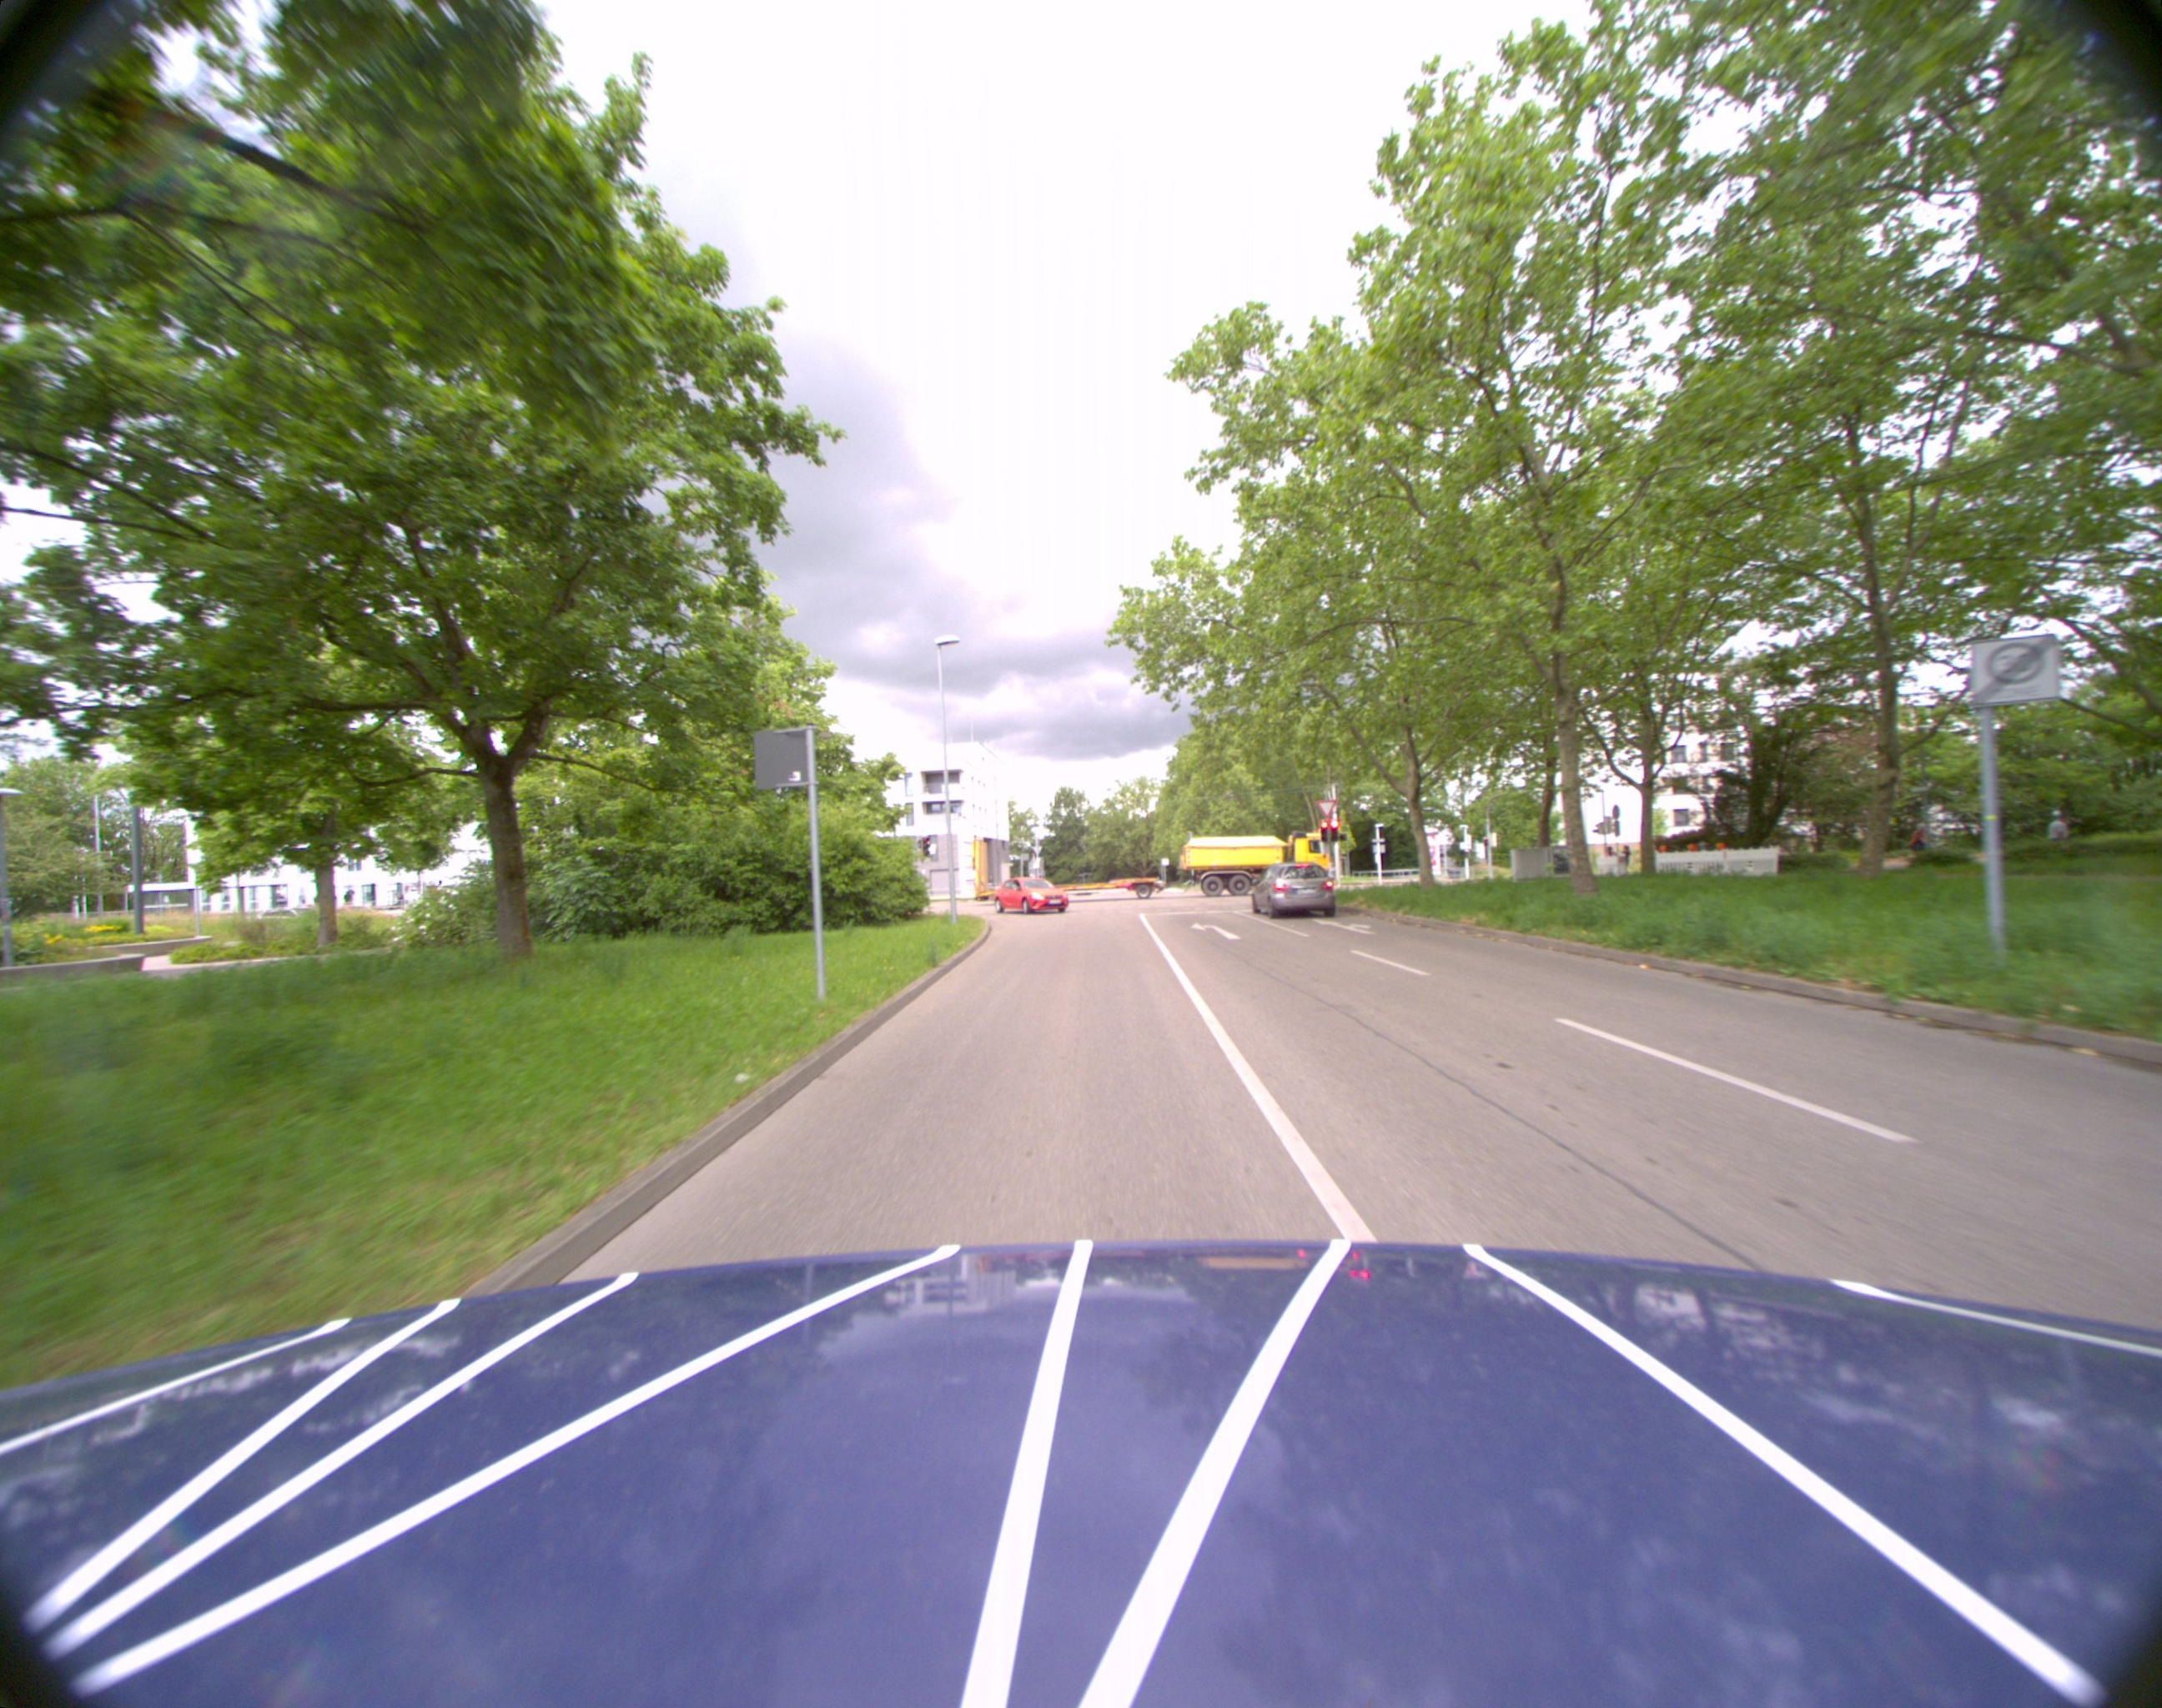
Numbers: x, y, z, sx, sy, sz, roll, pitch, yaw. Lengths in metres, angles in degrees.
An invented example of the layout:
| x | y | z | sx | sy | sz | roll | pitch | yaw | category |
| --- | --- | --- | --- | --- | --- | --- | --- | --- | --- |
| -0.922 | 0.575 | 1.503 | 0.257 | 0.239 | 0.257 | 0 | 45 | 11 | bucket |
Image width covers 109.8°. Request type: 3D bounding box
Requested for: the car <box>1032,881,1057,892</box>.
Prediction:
| x | y | z | sx | sy | sz | roll | pitch | yaw | category |
| --- | --- | --- | --- | --- | --- | --- | --- | --- | --- |
| -5.578 | 4.988 | 116.132 | 3.539 | 1.490 | 1.648 | -3 | -2 | 4 | car |

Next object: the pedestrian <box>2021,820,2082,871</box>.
| x | y | z | sx | sy | sz | roll | pitch | yaw | category |
| --- | --- | --- | --- | --- | --- | --- | --- | --- | --- |
| 30.578 | -0.260 | 23.949 | 0.850 | 1.576 | 0.796 | -2 | -1 | 4 | pedestrian |

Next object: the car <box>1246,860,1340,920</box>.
| x | y | z | sx | sy | sz | roll | pitch | yaw | category |
| --- | --- | --- | --- | --- | --- | --- | --- | --- | --- |
| 6.245 | 1.020 | 22.840 | 1.771 | 1.576 | 4.413 | -2 | -1 | 3 | car |

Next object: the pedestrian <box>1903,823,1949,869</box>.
| x | y | z | sx | sy | sz | roll | pitch | yaw | category |
| --- | --- | --- | --- | --- | --- | --- | --- | --- | --- |
| 28.903 | -0.258 | 26.002 | 0.655 | 1.529 | 0.772 | -2 | -1 | -4 | pedestrian |

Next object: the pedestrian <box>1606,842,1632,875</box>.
| x | y | z | sx | sy | sz | roll | pitch | yaw | category |
| --- | --- | --- | --- | --- | --- | --- | --- | --- | --- |
| 24.716 | 0.202 | 34.929 | 0.698 | 1.480 | 0.688 | -2 | -1 | 7 | pedestrian |

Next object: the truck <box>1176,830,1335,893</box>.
| x | y | z | sx | sy | sz | roll | pitch | yaw | category |
| --- | --- | --- | --- | --- | --- | --- | --- | --- | --- |
| 8.983 | 0.410 | 39.886 | 7.770 | 2.985 | 2.730 | -2 | -1 | 5 | truck |

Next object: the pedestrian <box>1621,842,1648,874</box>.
| x | y | z | sx | sy | sz | roll | pitch | yaw | category |
| --- | --- | --- | --- | --- | --- | --- | --- | --- | --- |
| 25.697 | 0.183 | 35.283 | 0.698 | 1.480 | 0.721 | -2 | -1 | 8 | pedestrian |

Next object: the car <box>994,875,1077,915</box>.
| x | y | z | sx | sy | sz | roll | pitch | yaw | category |
| --- | --- | --- | --- | --- | --- | --- | --- | --- | --- |
| -1.922 | 1.605 | 30.690 | 1.696 | 1.470 | 3.991 | -1 | -1 | -30 | car |

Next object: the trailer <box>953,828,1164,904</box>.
| x | y | z | sx | sy | sz | roll | pitch | yaw | category |
| --- | --- | --- | --- | --- | --- | --- | --- | --- | --- |
| -1.118 | 0.674 | 40.756 | 10.902 | 3.500 | 2.717 | -2 | -1 | 5 | trailer |
